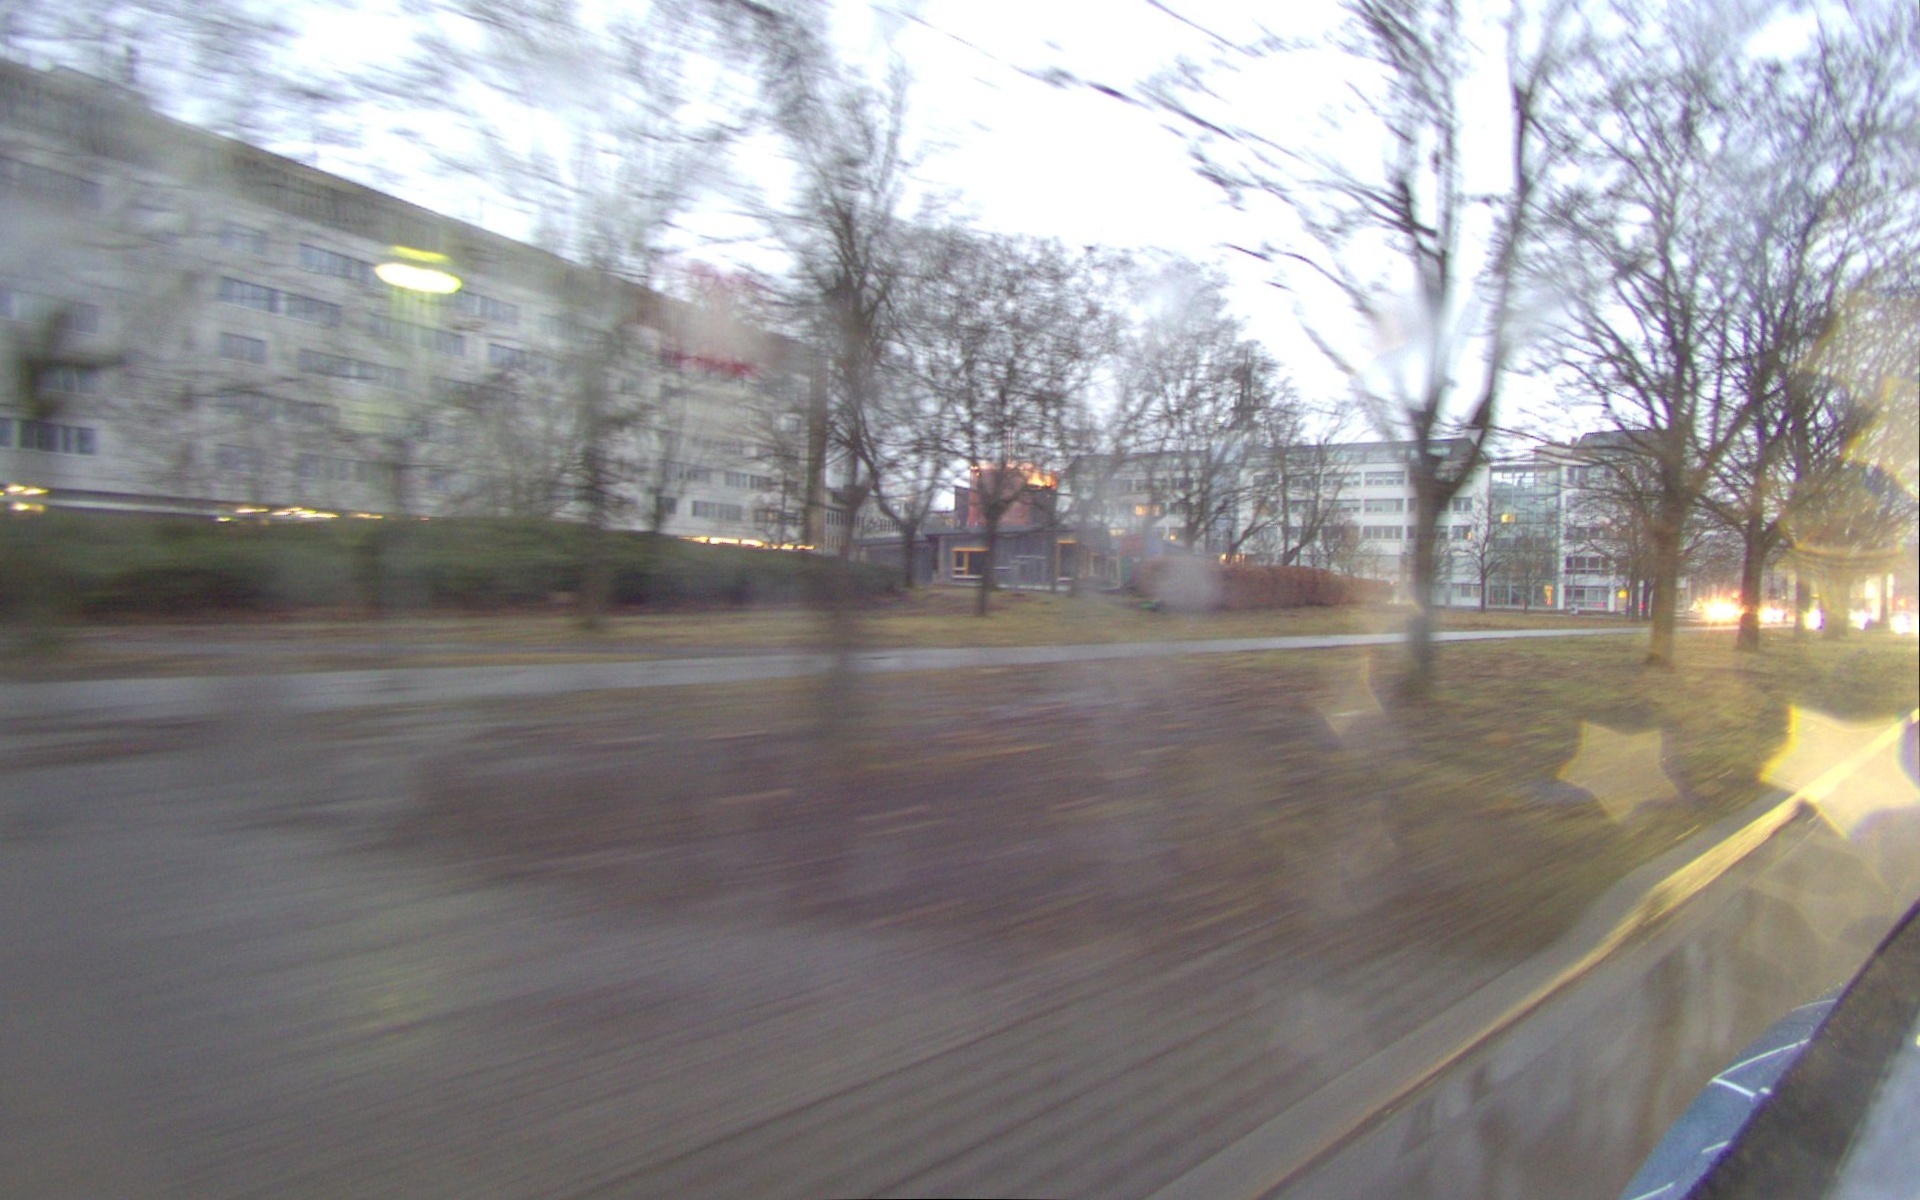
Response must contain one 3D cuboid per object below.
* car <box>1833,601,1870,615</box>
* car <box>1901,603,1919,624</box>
[{"bbox_3d":[87.957,0.801,99.930,1.983,1.340,3.957,0,0,30],"label":"car"},{"bbox_3d":[73.048,1.017,76.728,1.939,1.575,4.162,0,0,36],"label":"car"}]
